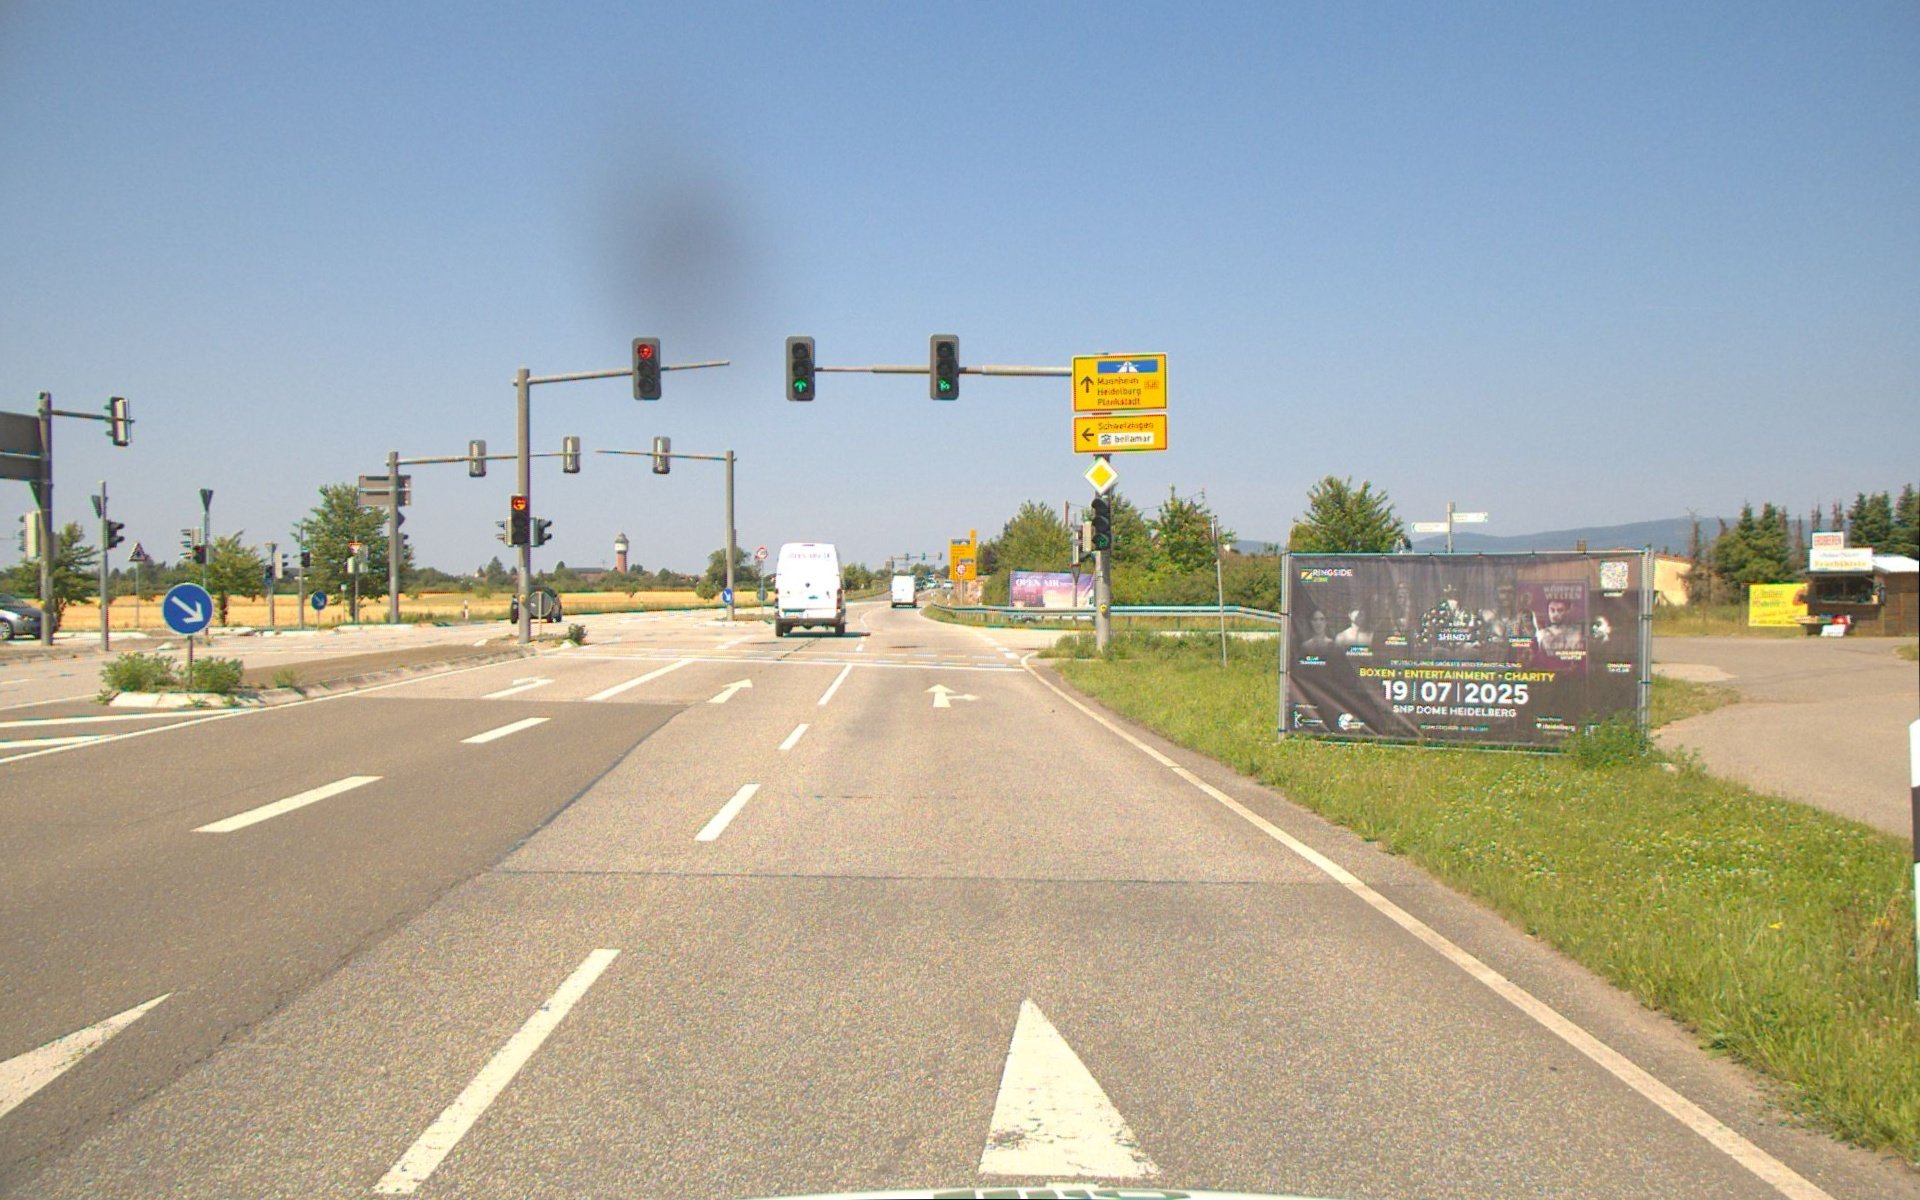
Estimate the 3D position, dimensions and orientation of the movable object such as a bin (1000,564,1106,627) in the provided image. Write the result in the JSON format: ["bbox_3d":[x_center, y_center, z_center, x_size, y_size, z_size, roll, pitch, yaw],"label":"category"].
[{"bbox_3d":[3.714,-0.176,66.244,4.015,2.372,1.276,1,0,-6],"label":"movable object such as a bin"}]

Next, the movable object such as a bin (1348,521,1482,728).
[{"bbox_3d":[5.983,0.295,21.659,1.489,2.404,4.427,1,0,16],"label":"movable object such as a bin"}]

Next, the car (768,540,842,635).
[{"bbox_3d":[-4.566,-0.371,49.396,1.999,2.665,5.737,0,0,-4],"label":"car"}]

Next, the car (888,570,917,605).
[{"bbox_3d":[-4.634,-0.991,134.189,1.952,2.742,4.970,1,-1,2],"label":"car"}]

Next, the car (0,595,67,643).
[{"bbox_3d":[-29.994,0.570,51.364,3.785,1.411,1.636,0,1,12],"label":"car"}]

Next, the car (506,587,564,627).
[{"bbox_3d":[-18.400,0.295,71.821,1.795,1.628,4.300,-1,0,-6],"label":"car"}]
